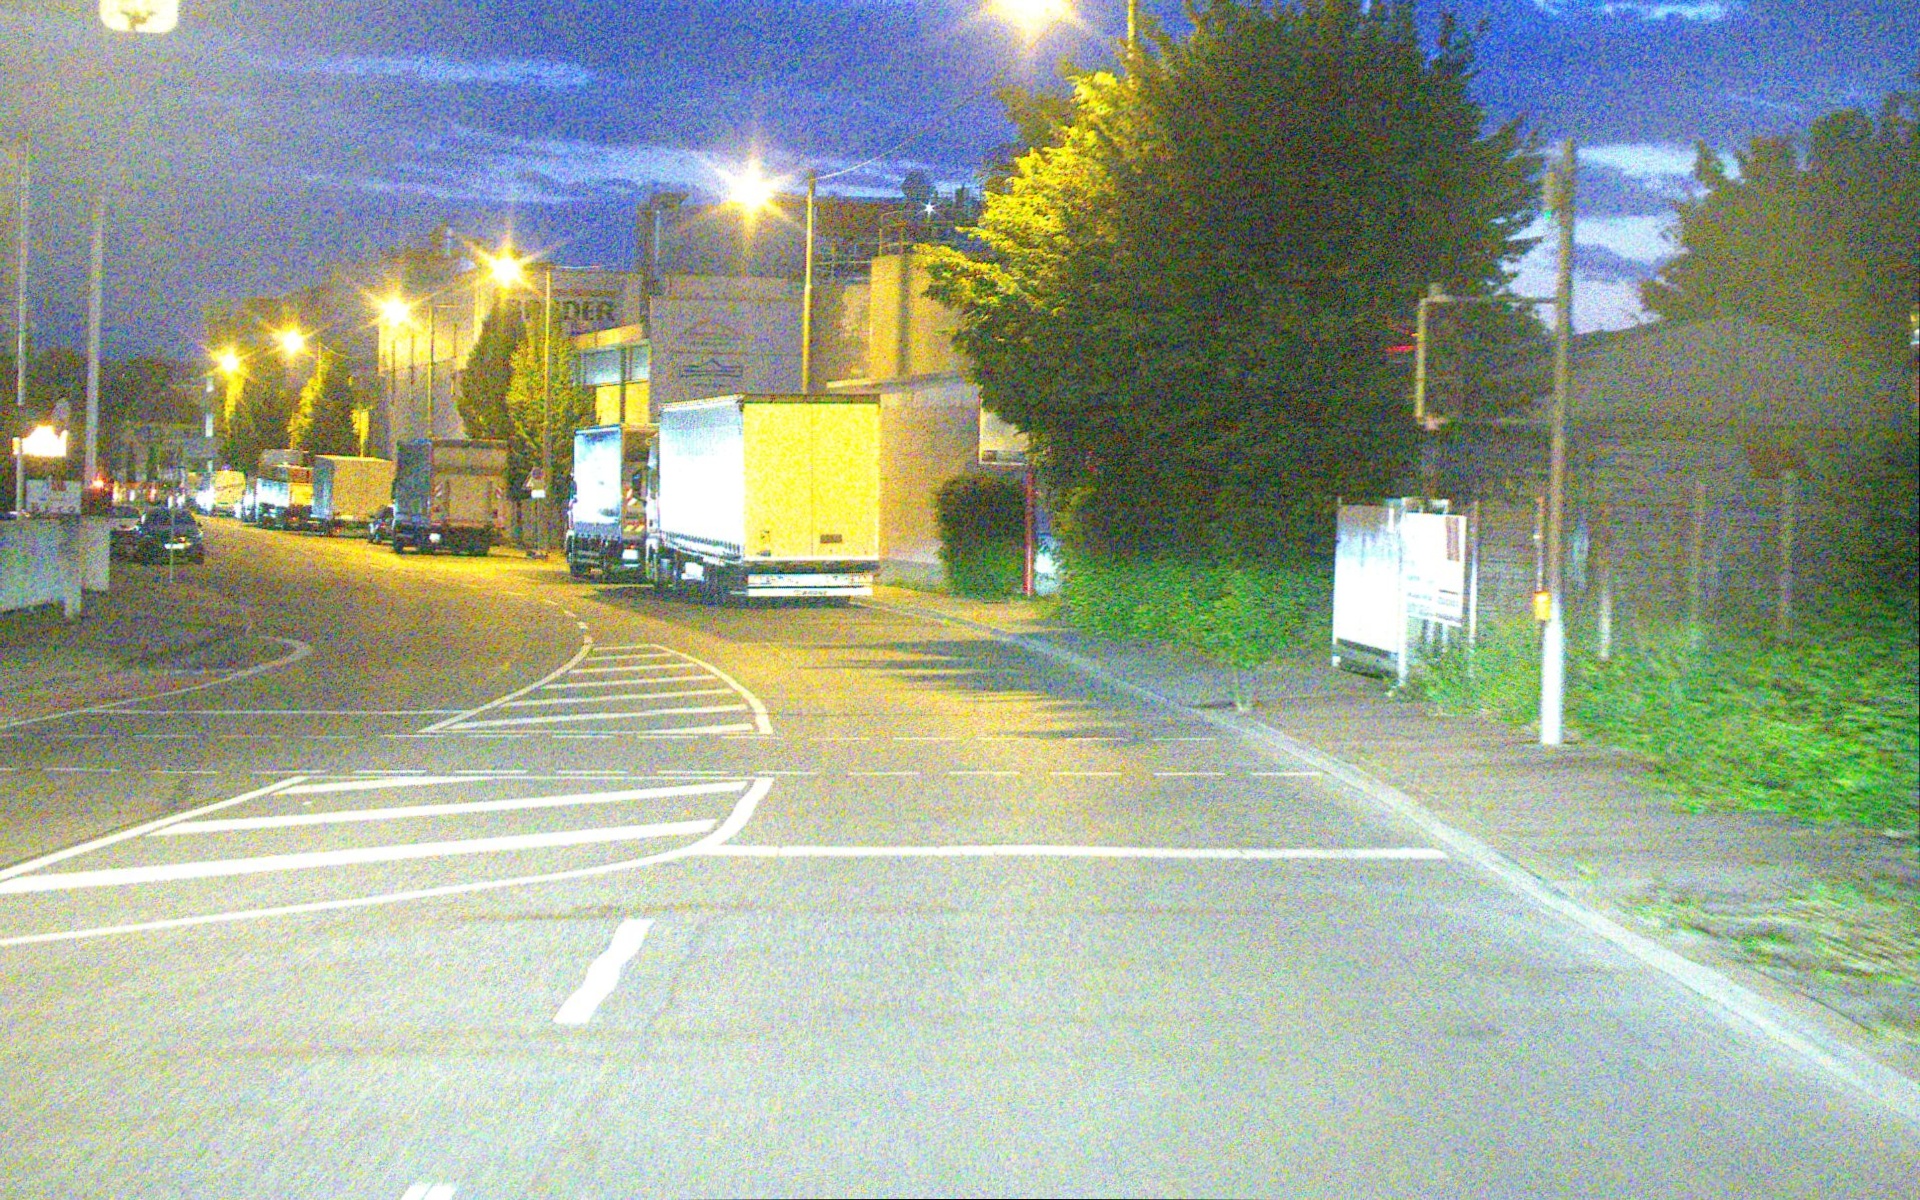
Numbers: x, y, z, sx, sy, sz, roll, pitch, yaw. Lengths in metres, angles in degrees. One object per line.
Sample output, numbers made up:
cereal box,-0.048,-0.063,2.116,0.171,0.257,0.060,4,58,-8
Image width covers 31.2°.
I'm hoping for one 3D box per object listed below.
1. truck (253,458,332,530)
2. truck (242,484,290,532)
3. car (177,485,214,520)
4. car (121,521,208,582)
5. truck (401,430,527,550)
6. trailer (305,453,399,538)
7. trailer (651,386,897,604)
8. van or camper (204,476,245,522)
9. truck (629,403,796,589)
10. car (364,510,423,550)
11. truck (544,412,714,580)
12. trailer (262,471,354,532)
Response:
truck,-32.813,-5.168,168.833,3.150,3.451,6.675,0,1,-17
truck,-36.446,-4.845,180.468,1.993,2.399,5.295,1,2,-17
car,-49.064,-6.278,220.673,1.993,2.138,4.002,1,2,-17
car,-22.874,-1.419,98.754,1.993,1.631,4.775,2,1,-18
truck,-17.256,-3.787,119.129,3.519,3.969,10.346,0,1,-13
trailer,-25.930,-4.433,146.400,2.686,3.452,7.812,2,1,-19
trailer,-4.014,-2.087,69.811,2.808,3.969,13.979,0,1,-12
van or camper,-43.032,-5.911,201.096,1.993,2.572,4.916,1,2,-16
truck,-5.585,-2.311,76.749,2.829,3.969,6.052,0,1,-13
car,-22.092,-2.730,133.948,1.852,1.514,3.819,0,1,-16
truck,-8.461,-2.603,86.729,2.829,3.969,10.346,0,1,-14
trailer,-30.768,-4.625,162.000,3.183,2.739,10.719,0,1,-17
